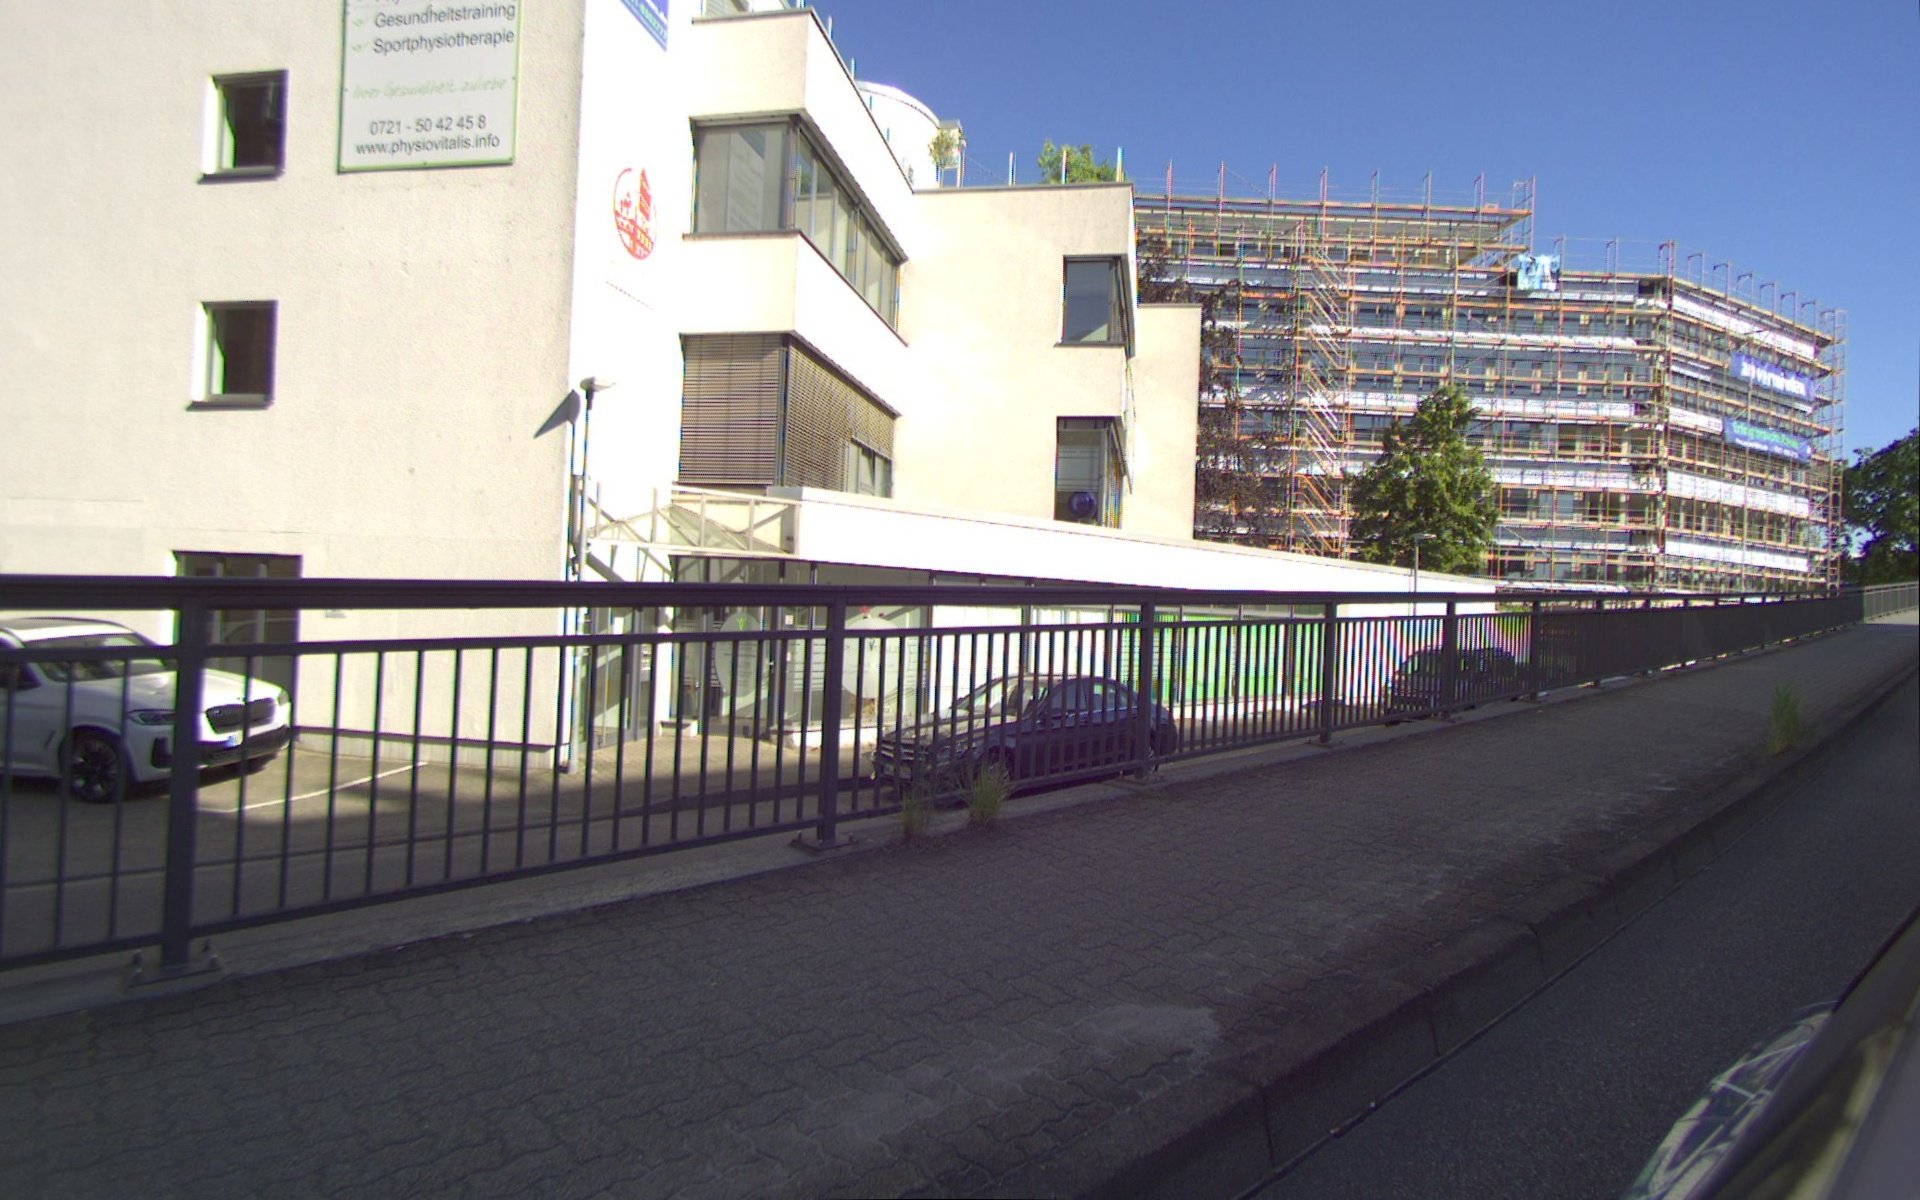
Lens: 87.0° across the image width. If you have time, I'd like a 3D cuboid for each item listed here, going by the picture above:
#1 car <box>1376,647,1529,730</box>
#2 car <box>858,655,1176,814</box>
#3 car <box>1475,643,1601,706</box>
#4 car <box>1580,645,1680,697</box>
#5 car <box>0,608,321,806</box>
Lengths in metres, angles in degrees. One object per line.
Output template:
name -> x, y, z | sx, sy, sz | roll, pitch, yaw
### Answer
car -> 10.869, 1.862, 22.229 | 3.931, 1.541, 1.723 | 1, -1, -42
car -> 0.820, 1.548, 12.809 | 3.929, 1.541, 1.724 | 1, -1, -41
car -> 14.991, 1.868, 26.159 | 3.931, 1.410, 1.723 | 1, -1, -42
car -> 21.098, 2.174, 31.800 | 3.931, 1.410, 1.723 | 1, -1, -42
car -> -9.568, 1.022, 10.848 | 4.455, 1.707, 1.840 | 2, 0, 9
